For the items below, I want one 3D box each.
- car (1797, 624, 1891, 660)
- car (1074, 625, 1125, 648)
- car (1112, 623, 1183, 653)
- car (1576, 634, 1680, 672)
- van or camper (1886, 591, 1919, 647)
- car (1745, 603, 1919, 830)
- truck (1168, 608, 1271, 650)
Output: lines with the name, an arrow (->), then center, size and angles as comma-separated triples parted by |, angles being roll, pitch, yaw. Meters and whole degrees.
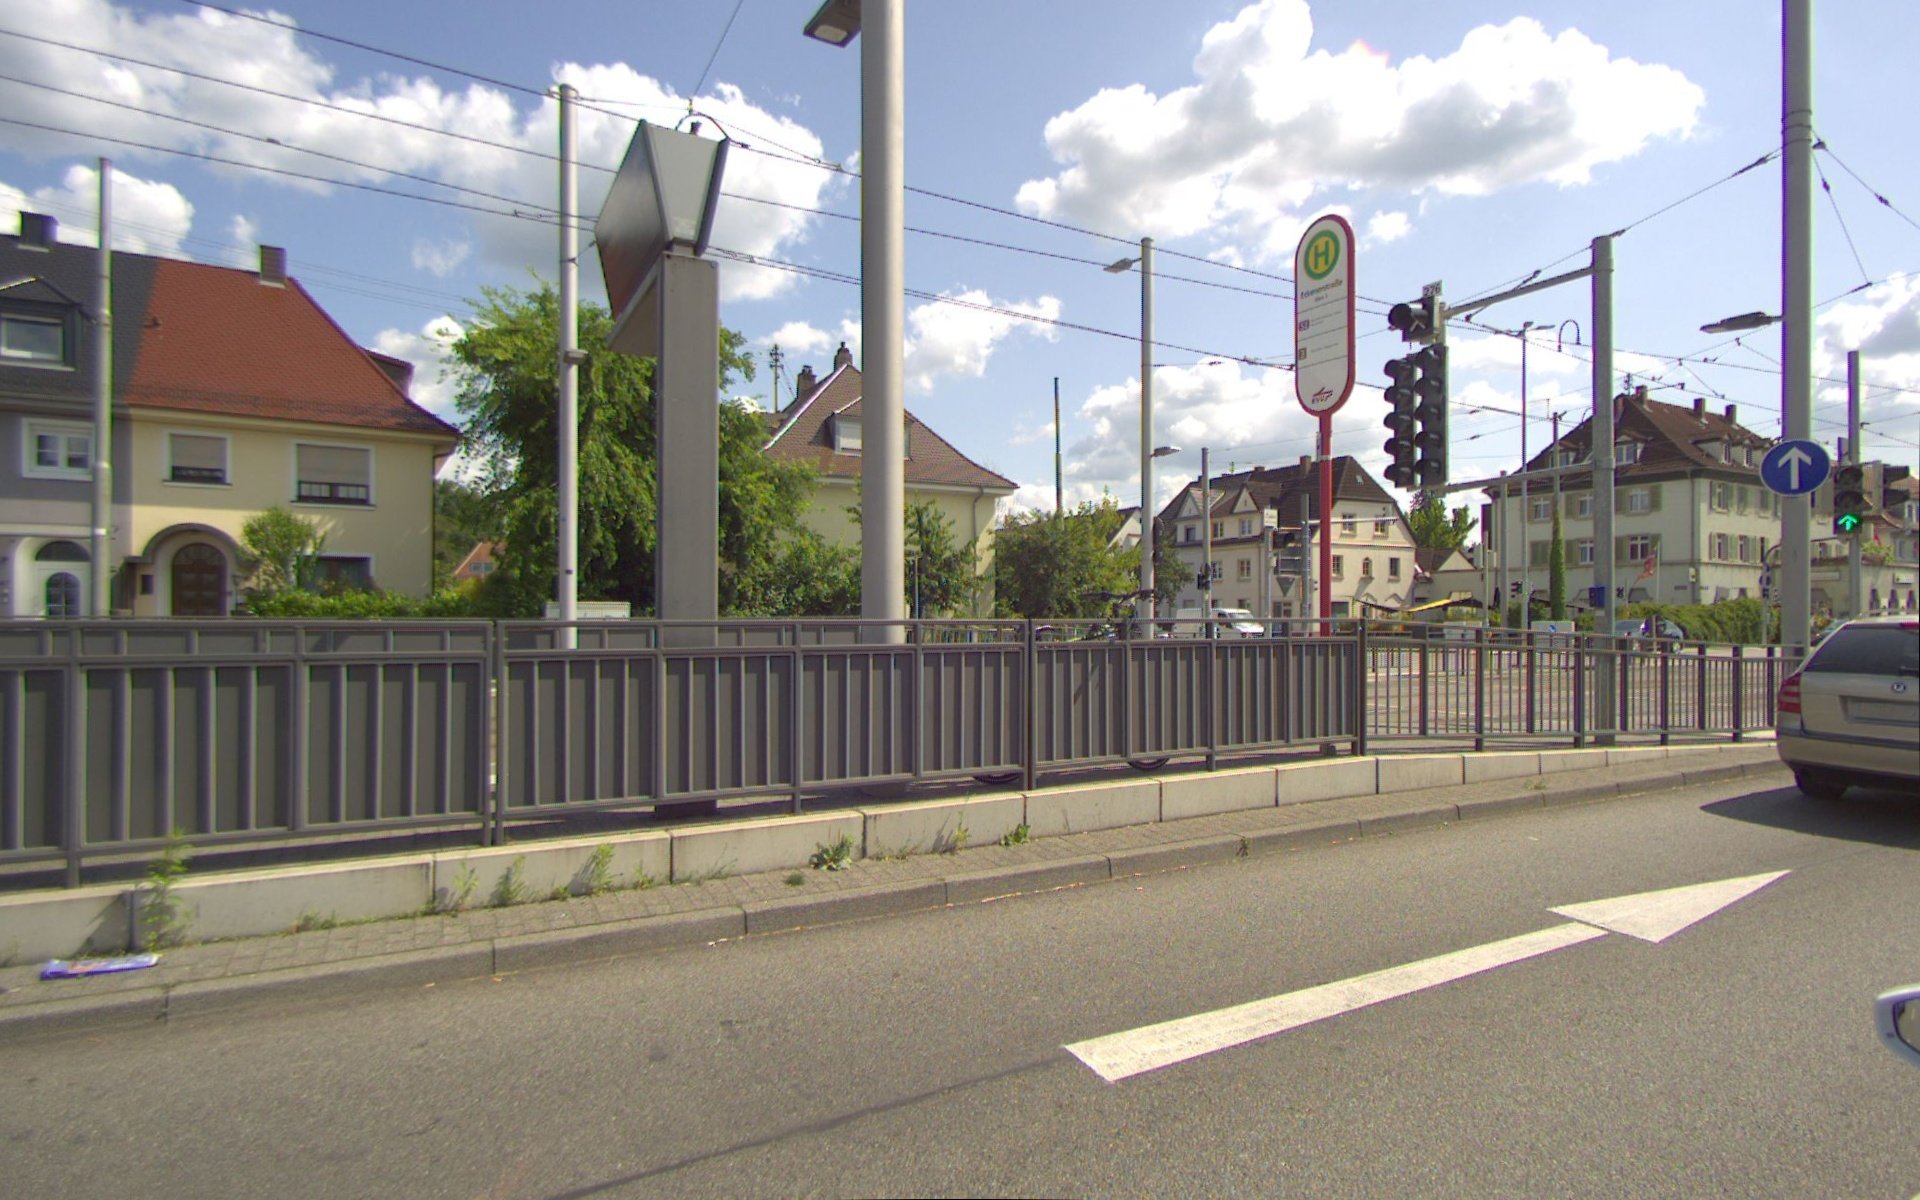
car -> 36.626, 1.744, 41.617 | 4.128, 1.369, 1.676 | 2, 0, -30
car -> 10.962, 2.870, 79.184 | 1.976, 1.617, 3.969 | 1, 0, -29
car -> 10.971, 2.190, 59.058 | 1.975, 1.573, 4.148 | 2, -1, -27
car -> 26.321, 2.055, 39.536 | 4.293, 1.369, 1.676 | 2, 0, -30
van or camper -> 53.507, 1.052, 54.727 | 7.662, 2.968, 2.313 | 1, -1, -30
car -> 7.985, 0.787, 7.686 | 4.074, 1.468, 1.723 | 1, 1, -30
truck -> 13.660, 1.490, 53.361 | 1.668, 1.947, 6.162 | 1, 0, -27
